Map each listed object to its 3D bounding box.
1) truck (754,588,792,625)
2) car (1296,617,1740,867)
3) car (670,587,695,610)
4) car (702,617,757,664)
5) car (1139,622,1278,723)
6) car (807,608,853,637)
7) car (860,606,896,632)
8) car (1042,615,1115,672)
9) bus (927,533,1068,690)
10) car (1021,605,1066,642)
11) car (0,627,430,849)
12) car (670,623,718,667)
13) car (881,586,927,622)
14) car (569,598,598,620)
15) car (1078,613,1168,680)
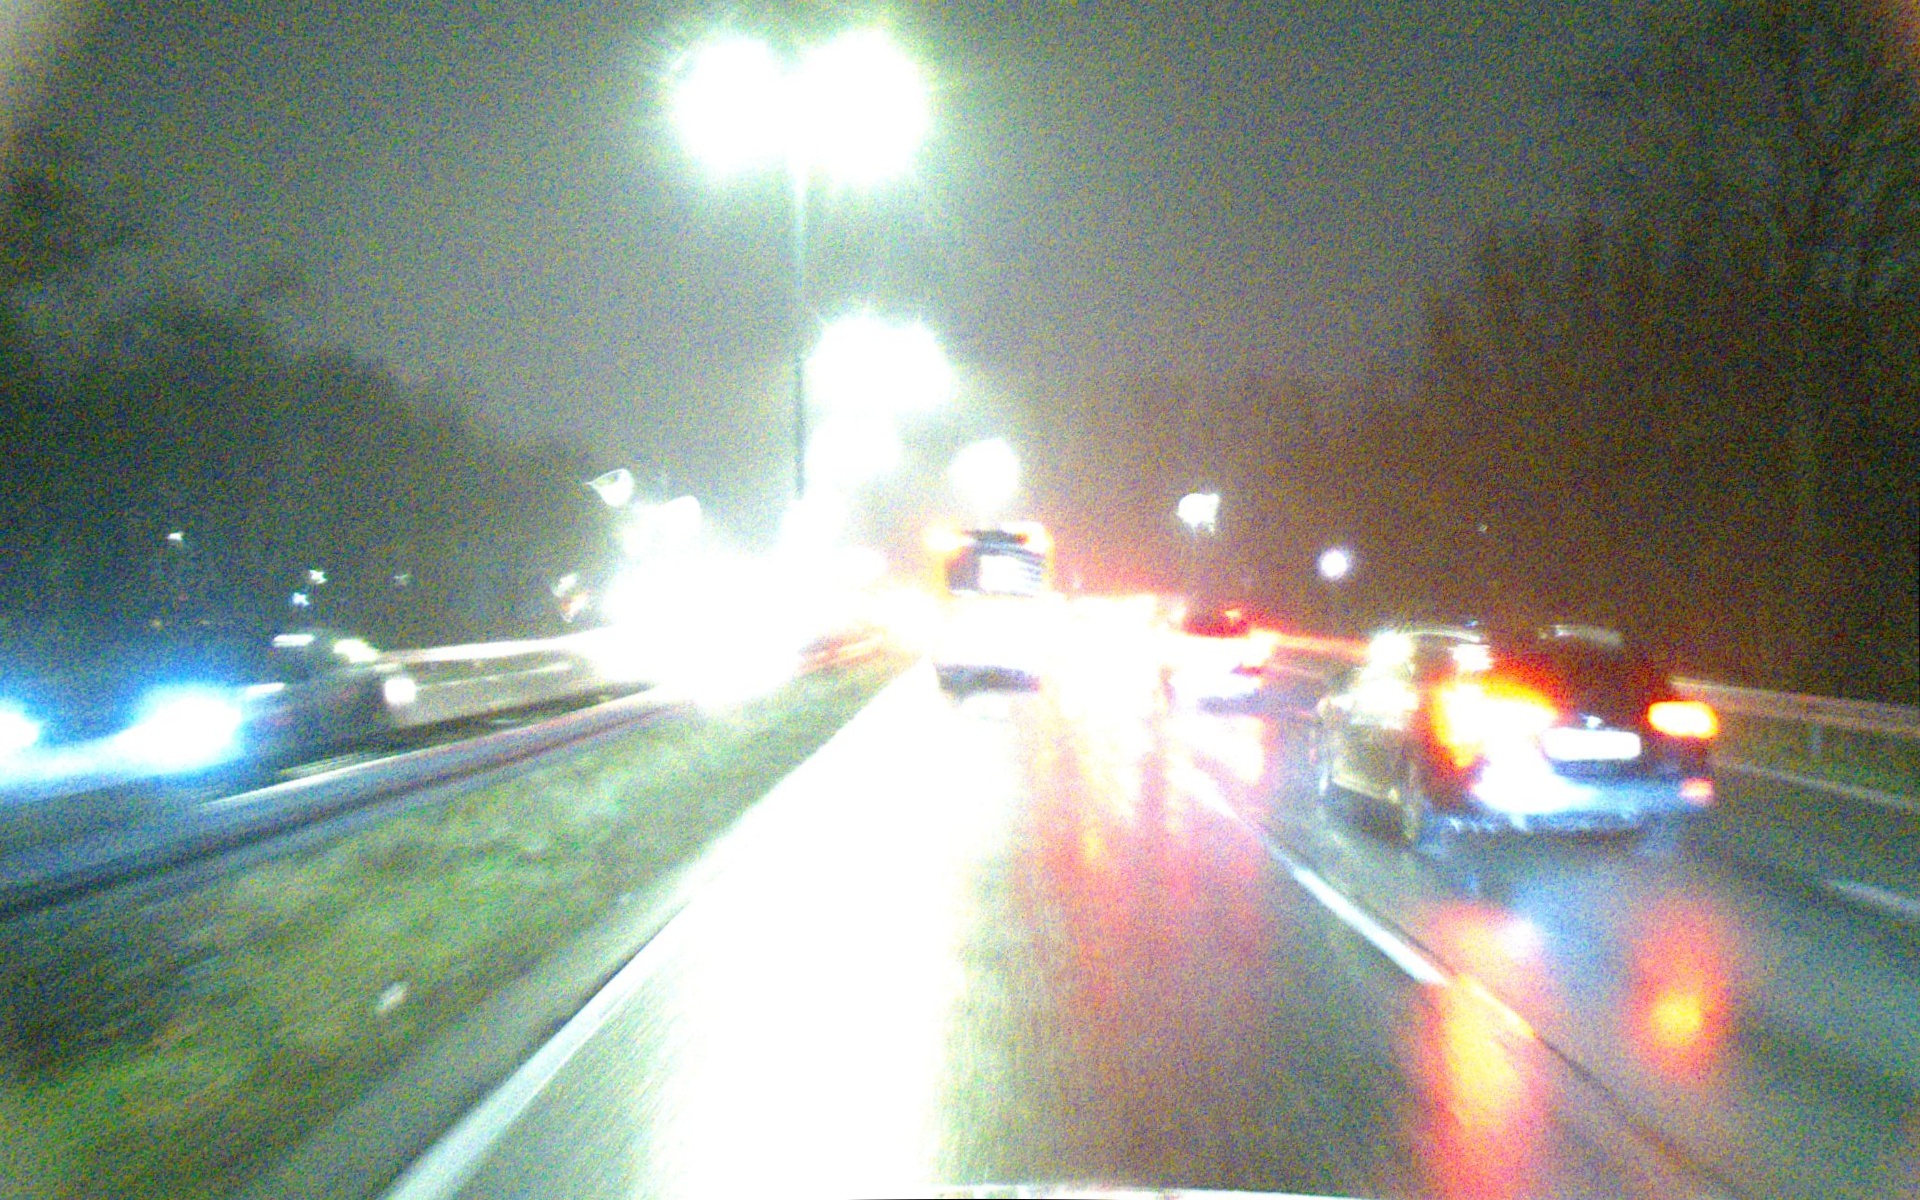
[{"bbox_3d":[-13.726,0.452,121.046,1.827,2.434,4.754,-1,3,-18],"label":"truck"},{"bbox_3d":[3.898,0.893,12.479,1.696,1.474,4.724,1,0,-1],"label":"car"},{"bbox_3d":[-25.779,-0.109,153.314,2.084,2.049,3.988,2,-1,-12],"label":"car"},{"bbox_3d":[-8.658,1.495,62.433,1.587,1.680,3.999,-1,-1,-1],"label":"car"},{"bbox_3d":[4.264,1.205,28.842,1.704,1.592,3.775,1,0,-2],"label":"car"},{"bbox_3d":[-9.249,1.579,117.733,2.181,2.049,3.972,0,0,-22],"label":"car"},{"bbox_3d":[-5.449,1.272,109.019,1.721,1.659,3.610,2,-1,-13],"label":"car"},{"bbox_3d":[3.541,1.278,49.862,1.783,1.618,3.775,0,0,-2],"label":"car"},{"bbox_3d":[0.694,0.256,37.302,2.758,3.077,8.685,1,0,-1],"label":"bus"},{"bbox_3d":[3.695,1.023,73.913,1.743,1.570,3.874,1,0,-1],"label":"car"},{"bbox_3d":[-6.192,1.011,14.030,1.817,1.502,4.779,0,0,0],"label":"car"},{"bbox_3d":[-12.966,2.168,80.829,1.955,2.049,3.995,2,-1,-5],"label":"car"},{"bbox_3d":[-3.413,0.272,99.828,1.960,2.049,3.985,2,-1,-14],"label":"car"},{"bbox_3d":[-36.850,0.870,161.914,1.967,2.049,3.970,2,-1,-24],"label":"car"},{"bbox_3d":[4.097,1.144,42.174,1.783,1.618,3.775,0,0,-2],"label":"car"}]
